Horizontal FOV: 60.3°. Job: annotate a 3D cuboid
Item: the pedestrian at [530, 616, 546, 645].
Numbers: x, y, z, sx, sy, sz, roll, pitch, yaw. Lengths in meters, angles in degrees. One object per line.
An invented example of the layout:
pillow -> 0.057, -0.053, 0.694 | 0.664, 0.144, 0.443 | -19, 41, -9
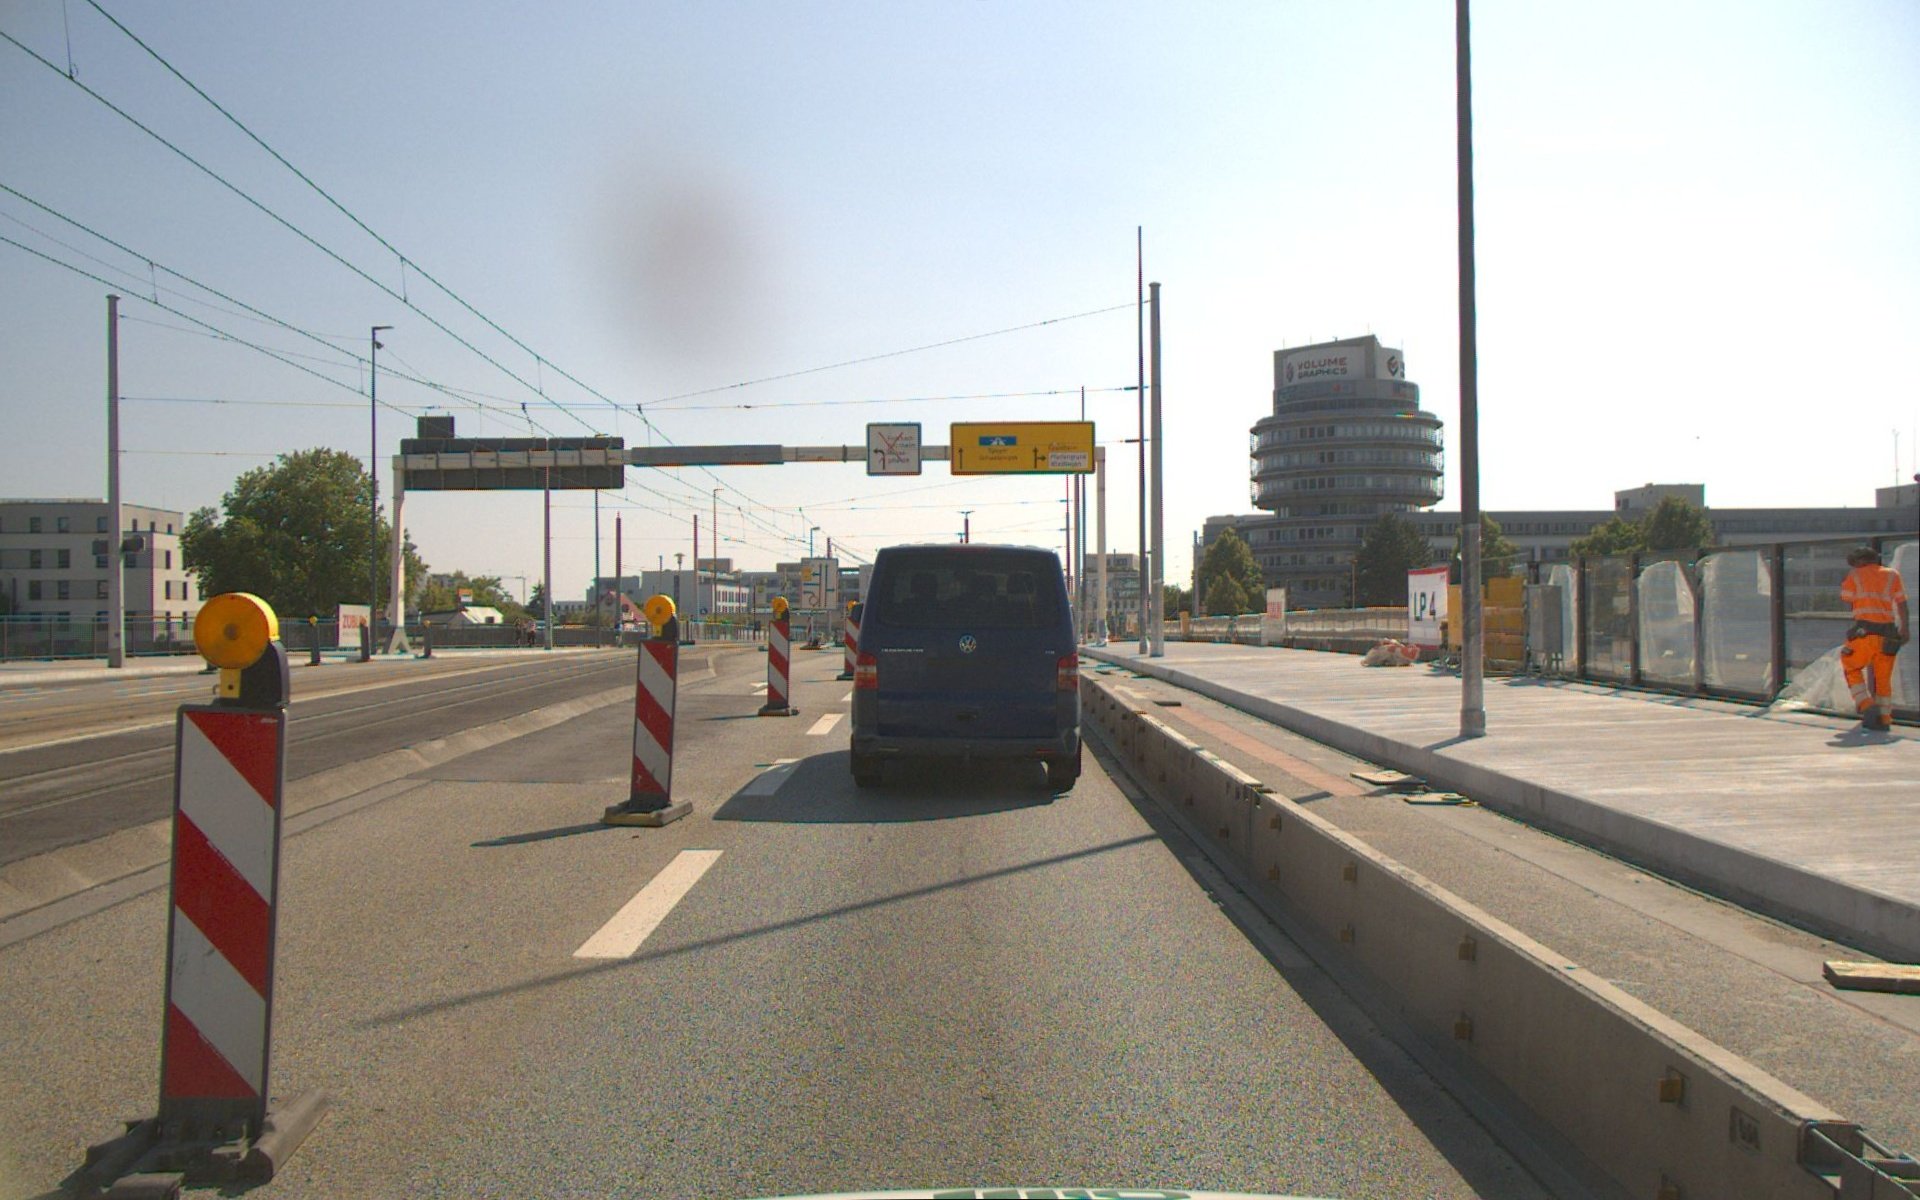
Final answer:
pedestrian -> -24.897, 1.814, 97.629 | 0.737, 1.717, 0.732 | -1, -1, 3

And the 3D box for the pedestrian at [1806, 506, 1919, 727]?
pedestrian -> 8.616, 0.147, 15.564 | 0.716, 1.999, 1.016 | -2, -1, 0

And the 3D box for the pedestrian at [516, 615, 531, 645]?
pedestrian -> -24.957, 1.727, 94.663 | 0.585, 1.717, 0.818 | -1, -1, 3

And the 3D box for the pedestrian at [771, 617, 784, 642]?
pedestrian -> -12.246, 1.971, 111.273 | 0.646, 1.683, 0.740 | -1, -1, 14

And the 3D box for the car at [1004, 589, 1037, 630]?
car -> 4.435, 0.733, 122.531 | 2.290, 2.938, 5.970 | 1, -1, 1

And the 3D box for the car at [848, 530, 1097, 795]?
car -> 0.079, 0.497, 14.520 | 1.849, 1.968, 3.999 | 1, -1, -1

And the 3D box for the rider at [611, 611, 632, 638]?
rider -> -22.154, 1.580, 108.281 | 0.748, 1.763, 2.951 | 0, -1, -1

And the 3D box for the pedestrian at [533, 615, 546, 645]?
pedestrian -> -24.149, 1.729, 94.922 | 0.476, 1.717, 0.808 | -1, -1, 3
